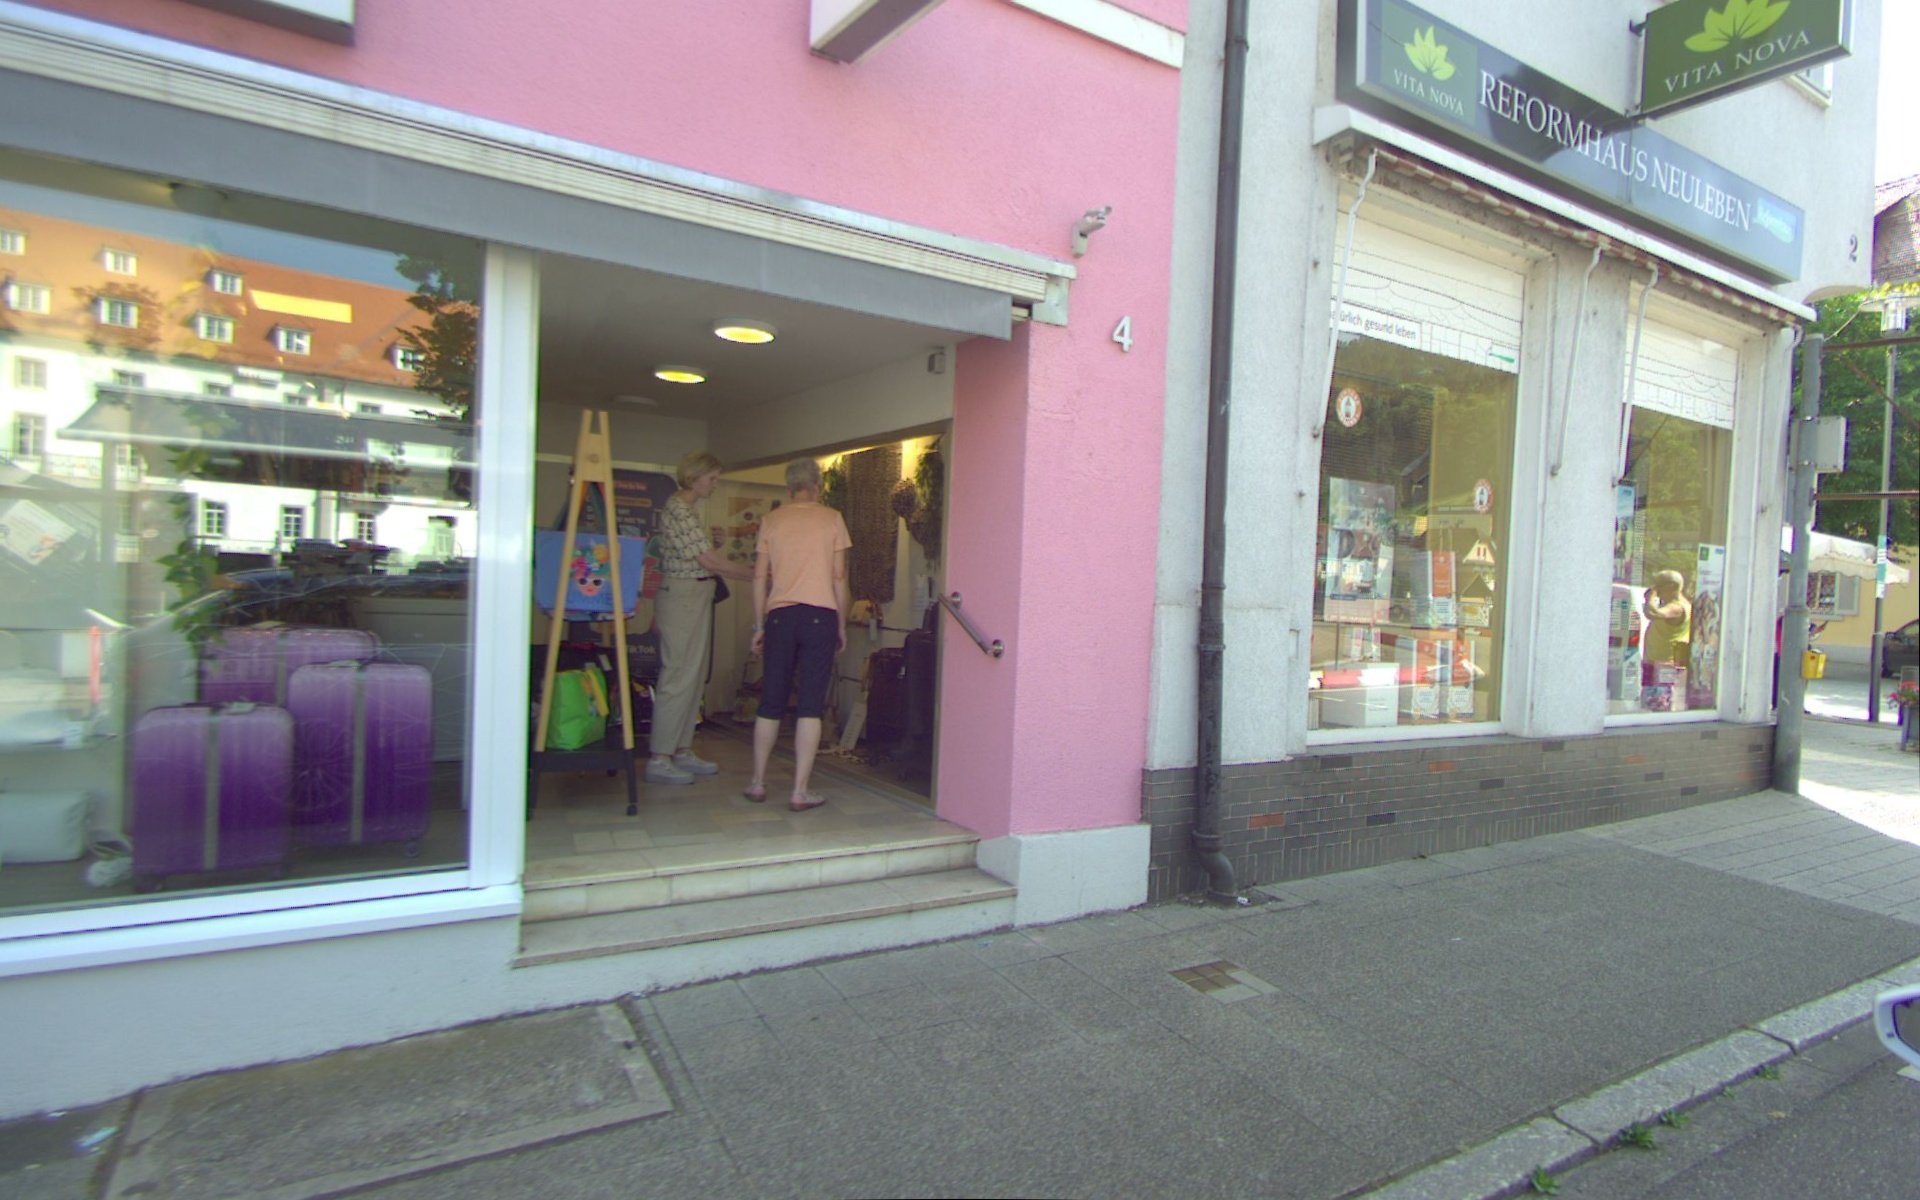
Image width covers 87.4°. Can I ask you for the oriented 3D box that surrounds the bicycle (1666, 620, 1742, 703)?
[{"bbox_3d":[12.089,0.972,16.296,1.849,1.251,0.609,1,1,-43],"label":"bicycle"}]

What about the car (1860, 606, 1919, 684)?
[{"bbox_3d":[21.786,1.004,22.066,1.887,1.564,3.954,3,3,26],"label":"car"}]

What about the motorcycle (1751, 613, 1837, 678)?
[{"bbox_3d":[19.403,1.036,23.368,2.063,1.379,0.881,-1,2,-31],"label":"motorcycle"}]

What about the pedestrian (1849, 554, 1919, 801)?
[{"bbox_3d":[7.737,0.628,7.572,0.890,1.839,1.020,4,5,-3],"label":"pedestrian"}]

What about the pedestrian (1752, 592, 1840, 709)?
[{"bbox_3d":[12.623,0.761,15.169,0.870,1.680,0.569,4,0,-20],"label":"pedestrian"}]

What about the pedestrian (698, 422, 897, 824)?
[{"bbox_3d":[-0.747,0.092,4.759,0.701,1.745,0.675,2,1,11],"label":"pedestrian"}]

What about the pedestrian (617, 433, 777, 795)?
[{"bbox_3d":[-1.373,0.068,5.244,0.566,1.745,0.568,1,1,-45],"label":"pedestrian"}]
